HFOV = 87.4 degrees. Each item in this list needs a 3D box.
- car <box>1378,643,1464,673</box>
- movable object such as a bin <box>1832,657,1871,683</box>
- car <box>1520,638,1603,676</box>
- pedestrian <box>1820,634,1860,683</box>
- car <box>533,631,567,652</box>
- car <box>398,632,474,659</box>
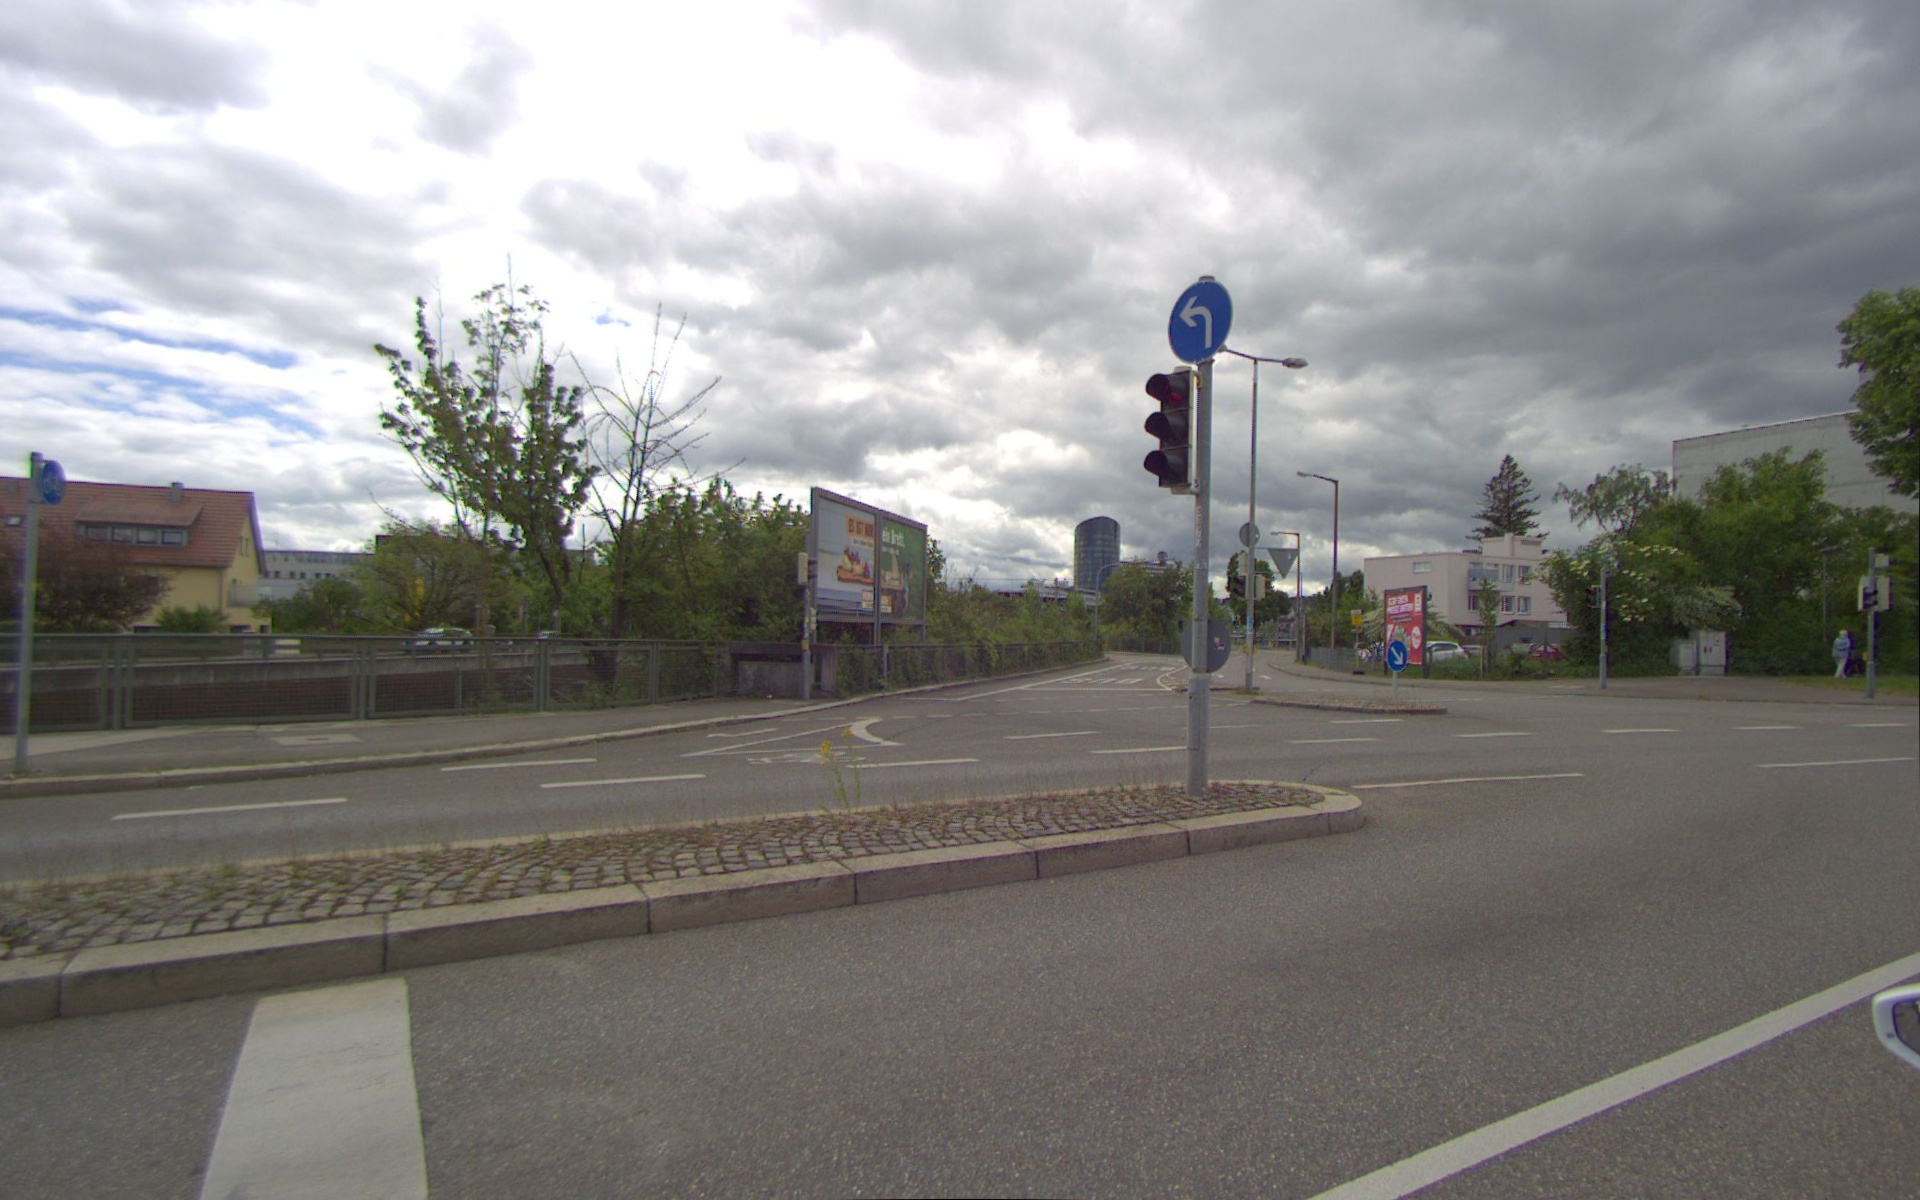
[{"bbox_3d":[24.935,3.125,54.375,3.928,1.574,1.799,1,-2,-10],"label":"car"},{"bbox_3d":[28.493,2.224,32.109,0.886,0.808,0.653,1,-2,-27],"label":"movable object such as a bin"},{"bbox_3d":[35.154,3.347,58.742,3.934,2.040,1.993,2,1,-16],"label":"car"},{"bbox_3d":[27.833,1.842,31.763,0.912,1.542,0.653,1,-2,-27],"label":"pedestrian"},{"bbox_3d":[-39.159,3.951,95.894,1.723,1.685,3.949,1,2,-42],"label":"car"},{"bbox_3d":[-32.884,2.850,63.217,1.861,1.628,4.380,0,-2,12],"label":"car"}]
